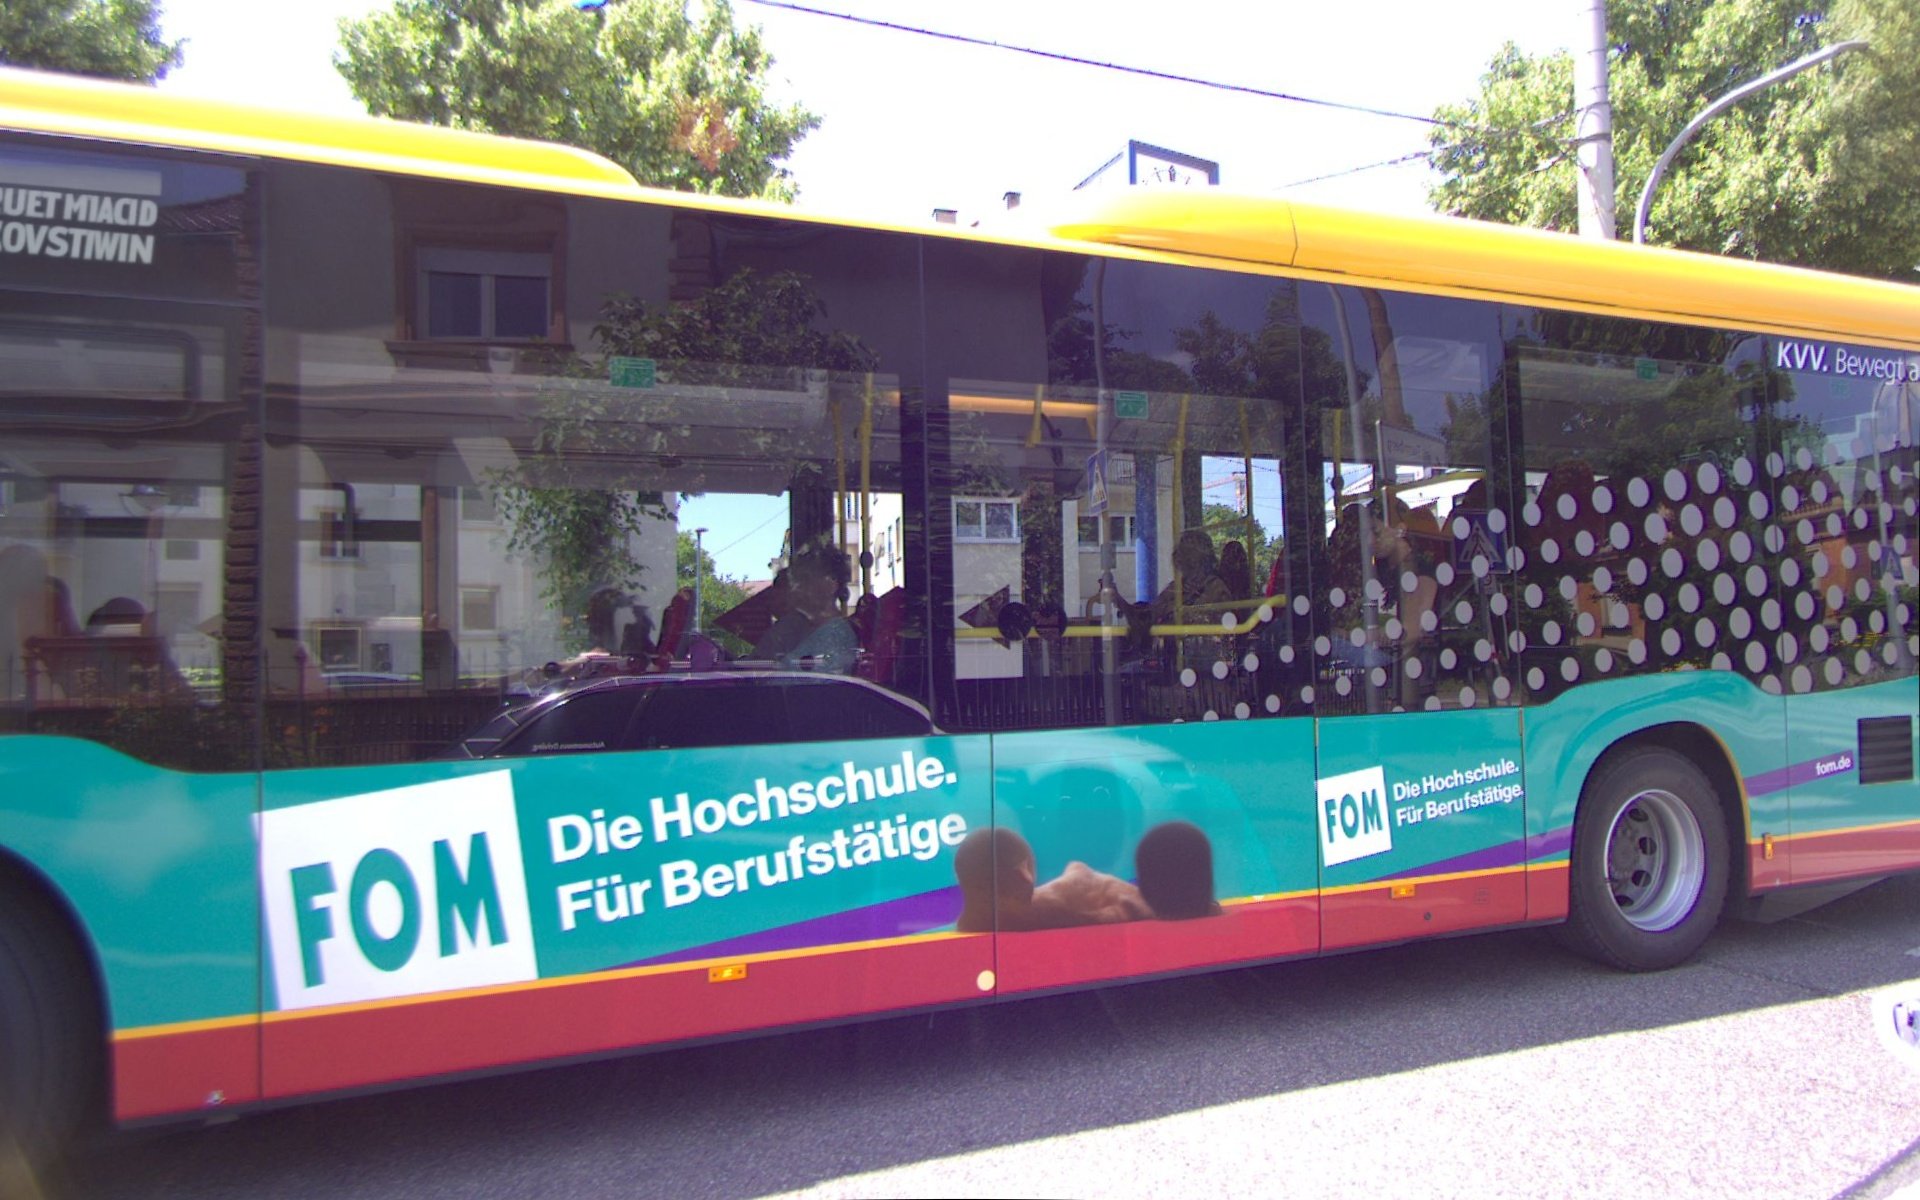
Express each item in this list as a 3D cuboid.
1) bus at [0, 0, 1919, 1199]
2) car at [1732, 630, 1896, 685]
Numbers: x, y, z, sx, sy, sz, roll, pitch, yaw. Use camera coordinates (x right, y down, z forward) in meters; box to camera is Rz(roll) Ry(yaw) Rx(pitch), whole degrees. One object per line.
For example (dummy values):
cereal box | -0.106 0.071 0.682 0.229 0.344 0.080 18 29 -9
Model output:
bus | -0.027 -0.088 4.423 12.113 3.251 2.777 0 -1 -19
car | 26.635 1.751 31.514 1.629 1.485 3.908 -5 -2 -2
